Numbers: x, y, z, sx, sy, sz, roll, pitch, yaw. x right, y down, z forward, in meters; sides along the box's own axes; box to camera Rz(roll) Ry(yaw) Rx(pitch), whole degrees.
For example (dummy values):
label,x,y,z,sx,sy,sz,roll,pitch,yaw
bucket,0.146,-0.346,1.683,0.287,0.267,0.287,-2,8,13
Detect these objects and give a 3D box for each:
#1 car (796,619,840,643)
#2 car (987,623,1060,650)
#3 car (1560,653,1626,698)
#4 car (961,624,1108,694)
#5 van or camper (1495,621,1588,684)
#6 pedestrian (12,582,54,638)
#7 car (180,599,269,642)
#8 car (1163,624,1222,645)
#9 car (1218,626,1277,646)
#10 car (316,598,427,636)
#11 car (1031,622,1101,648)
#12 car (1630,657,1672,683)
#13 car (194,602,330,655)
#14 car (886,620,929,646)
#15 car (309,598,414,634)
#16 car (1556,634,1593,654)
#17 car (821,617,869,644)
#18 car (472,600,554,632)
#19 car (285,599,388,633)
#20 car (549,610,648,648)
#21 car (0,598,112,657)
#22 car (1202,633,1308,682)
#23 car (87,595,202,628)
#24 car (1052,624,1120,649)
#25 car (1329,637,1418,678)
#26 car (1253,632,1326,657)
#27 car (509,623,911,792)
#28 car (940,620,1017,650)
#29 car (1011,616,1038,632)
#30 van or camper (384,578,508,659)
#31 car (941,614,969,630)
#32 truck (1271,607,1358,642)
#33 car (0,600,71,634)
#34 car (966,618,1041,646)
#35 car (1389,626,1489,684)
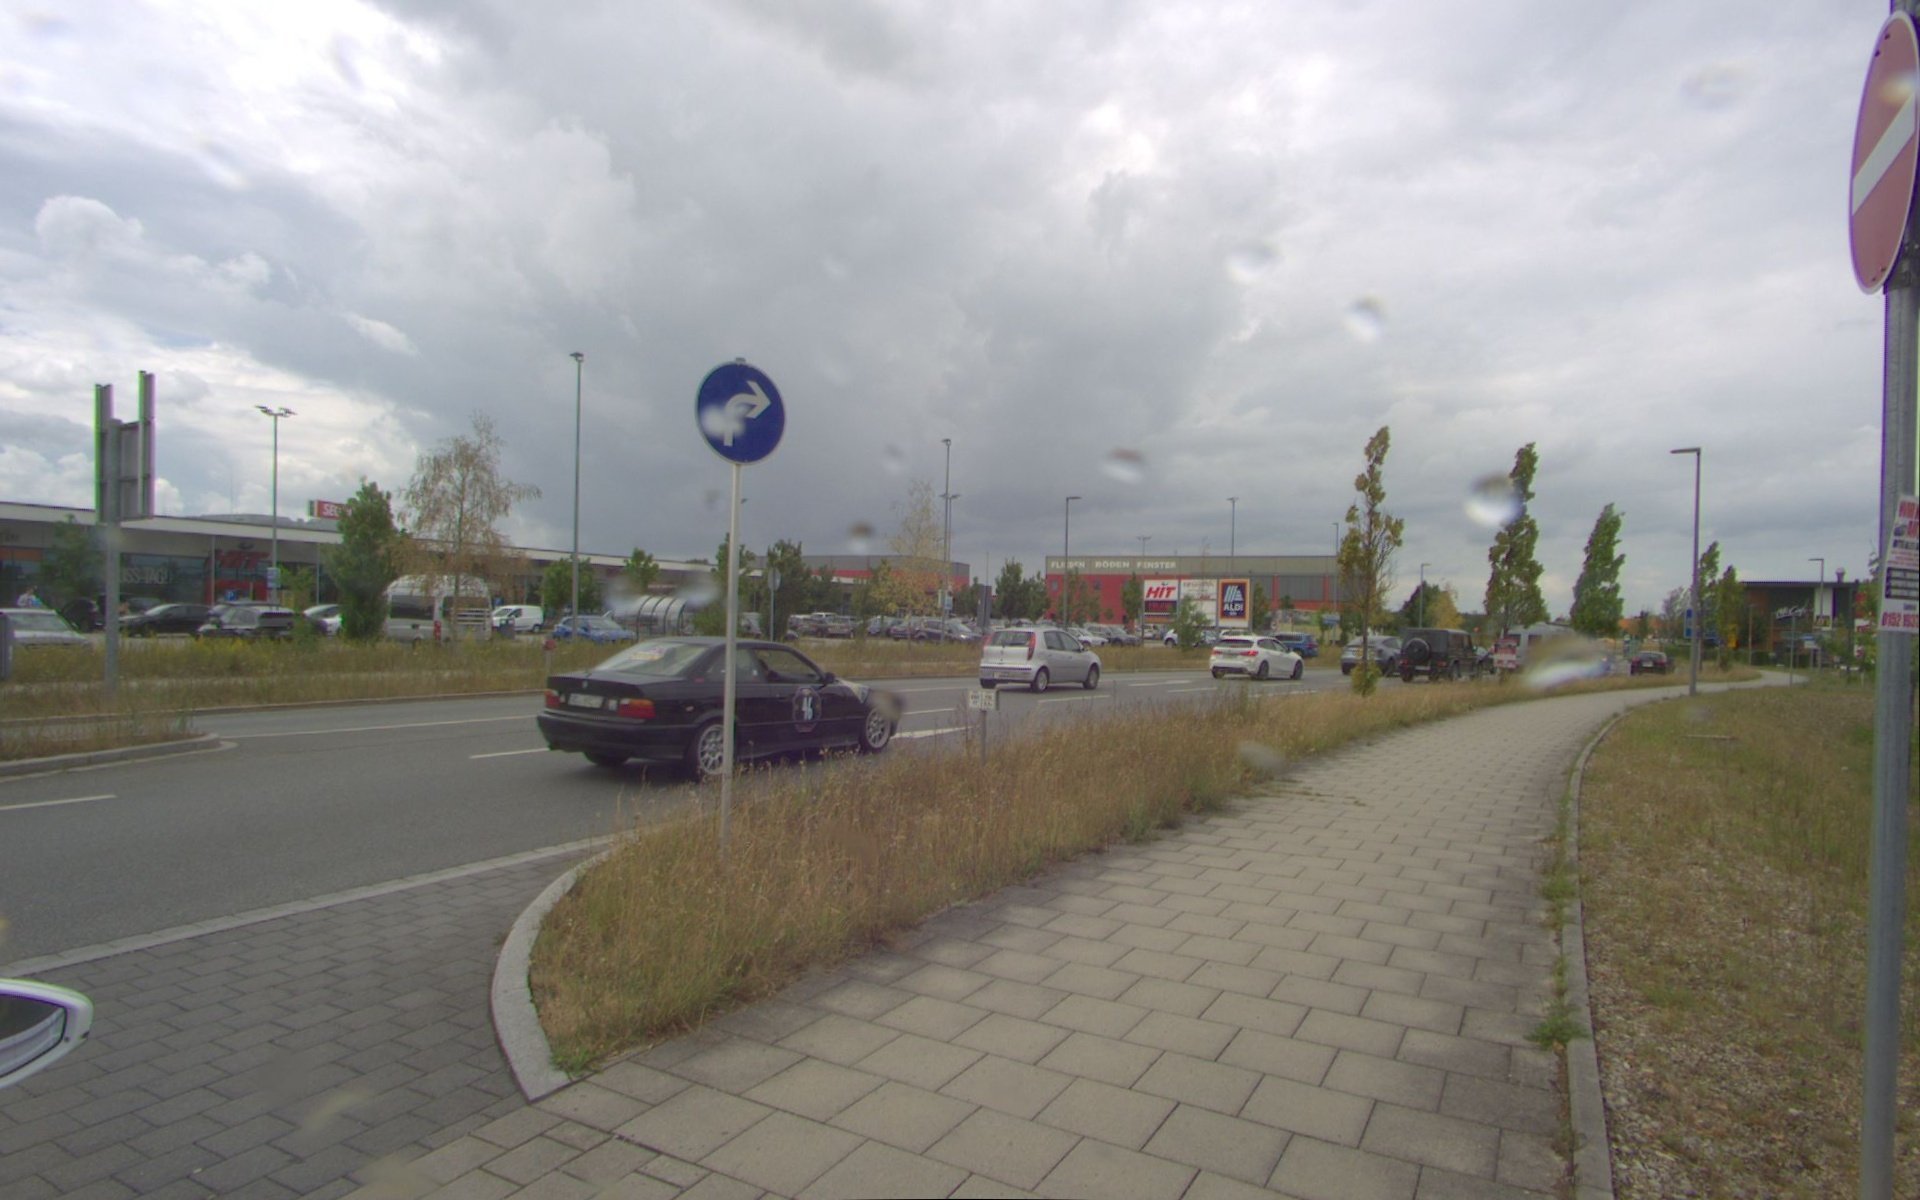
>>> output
label,x,y,z,sx,sy,sz,roll,pitch,yaw
car,-10.282,2.223,72.859,1.731,1.675,3.831,1,0,17
car,3.631,2.074,57.475,3.766,1.408,1.901,1,0,38
car,26.048,3.078,41.172,1.667,1.698,3.476,0,-2,43
car,1.856,1.348,23.858,1.777,1.480,3.793,1,-1,36
van or camper,26.089,2.348,44.814,2.173,2.574,6.112,1,-2,44
pedestrian,-34.374,0.363,37.123,0.988,2.040,0.864,2,0,31
car,-30.949,0.848,42.138,3.944,1.675,1.810,1,0,34
car,16.849,2.519,72.646,3.800,1.446,1.728,0,-2,43
car,22.437,2.783,78.179,3.950,1.460,1.986,0,-2,38
car,-27.372,0.796,46.665,1.972,1.639,3.978,1,-1,34
car,6.394,2.097,60.529,3.766,1.408,1.901,1,0,38
car,39.455,3.977,57.135,1.479,1.403,3.312,0,-2,43
car,-20.866,0.833,29.911,4.092,1.469,1.985,0,-2,34
car,-3.606,2.246,69.440,1.731,1.675,3.831,1,0,17
car,-29.338,0.799,49.186,1.972,1.639,3.978,1,-1,34
car,45.663,3.273,74.382,1.753,1.402,4.119,1,-1,40
car,-8.197,2.150,71.674,1.964,1.756,3.994,1,0,17
car,-27.328,1.012,61.398,1.966,1.842,4.418,1,-2,23
car,-31.569,0.807,50.757,1.972,1.639,3.978,1,-1,34
car,-14.296,1.149,39.504,4.098,1.402,1.798,0,-2,39
car,-23.771,0.690,25.700,4.092,1.402,1.985,0,-2,34
car,9.958,1.879,33.604,1.780,1.469,4.214,1,-1,42
car,-40.592,0.586,49.960,1.968,1.527,3.986,1,-1,27
car,7.837,2.252,62.485,3.766,1.408,1.901,1,0,38
car,16.922,2.306,40.855,1.790,1.527,4.844,1,-1,42
car,20.145,2.694,61.252,3.942,1.394,1.856,1,-1,32
car,-2.451,0.992,10.933,1.733,1.404,4.281,1,-1,31
car,0.965,1.856,53.815,3.766,1.408,1.901,1,0,38
car,6.892,2.525,106.061,1.733,1.675,3.827,1,0,22
van or camper,-17.207,0.619,33.486,3.951,2.524,2.274,0,-1,39
car,-0.478,2.336,108.821,1.733,1.675,3.827,1,0,22
truck,32.252,2.240,91.066,8.061,2.984,2.668,2,0,-27
car,-44.080,0.791,47.205,3.937,1.527,1.993,1,-1,28
car,2.383,1.738,55.730,3.766,1.408,1.901,1,0,38
car,17.585,2.010,36.655,1.978,1.948,4.809,1,-2,42
